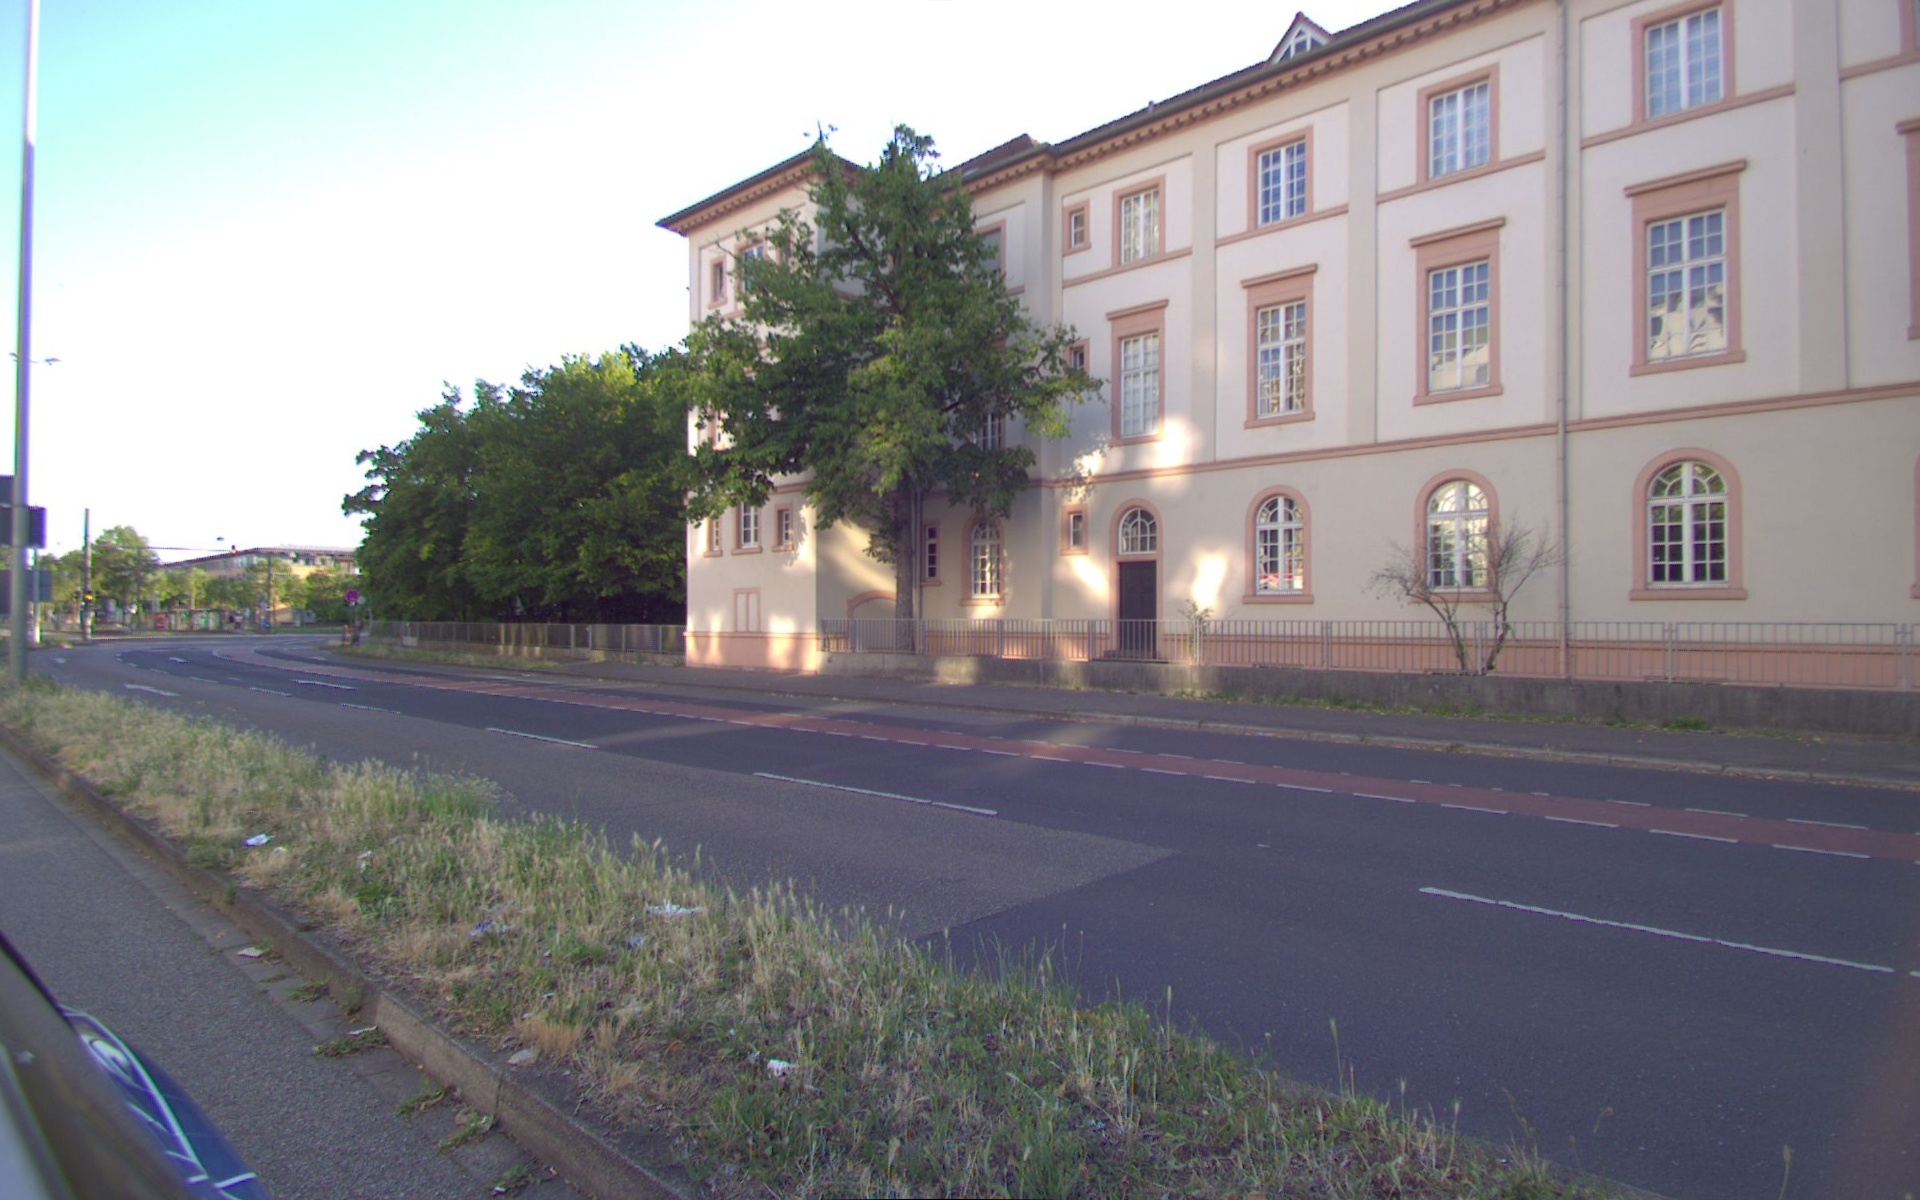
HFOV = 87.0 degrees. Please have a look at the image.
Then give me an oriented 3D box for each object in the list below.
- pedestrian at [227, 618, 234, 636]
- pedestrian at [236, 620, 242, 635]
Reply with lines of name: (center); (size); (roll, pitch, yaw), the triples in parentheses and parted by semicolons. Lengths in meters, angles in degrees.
pedestrian: (-80.908, 3.006, 112.242); (0.664, 2.029, 0.549); (-1, -2, 41)
pedestrian: (-80.180, 3.051, 112.597); (0.419, 1.718, 0.461); (-1, -2, 41)
